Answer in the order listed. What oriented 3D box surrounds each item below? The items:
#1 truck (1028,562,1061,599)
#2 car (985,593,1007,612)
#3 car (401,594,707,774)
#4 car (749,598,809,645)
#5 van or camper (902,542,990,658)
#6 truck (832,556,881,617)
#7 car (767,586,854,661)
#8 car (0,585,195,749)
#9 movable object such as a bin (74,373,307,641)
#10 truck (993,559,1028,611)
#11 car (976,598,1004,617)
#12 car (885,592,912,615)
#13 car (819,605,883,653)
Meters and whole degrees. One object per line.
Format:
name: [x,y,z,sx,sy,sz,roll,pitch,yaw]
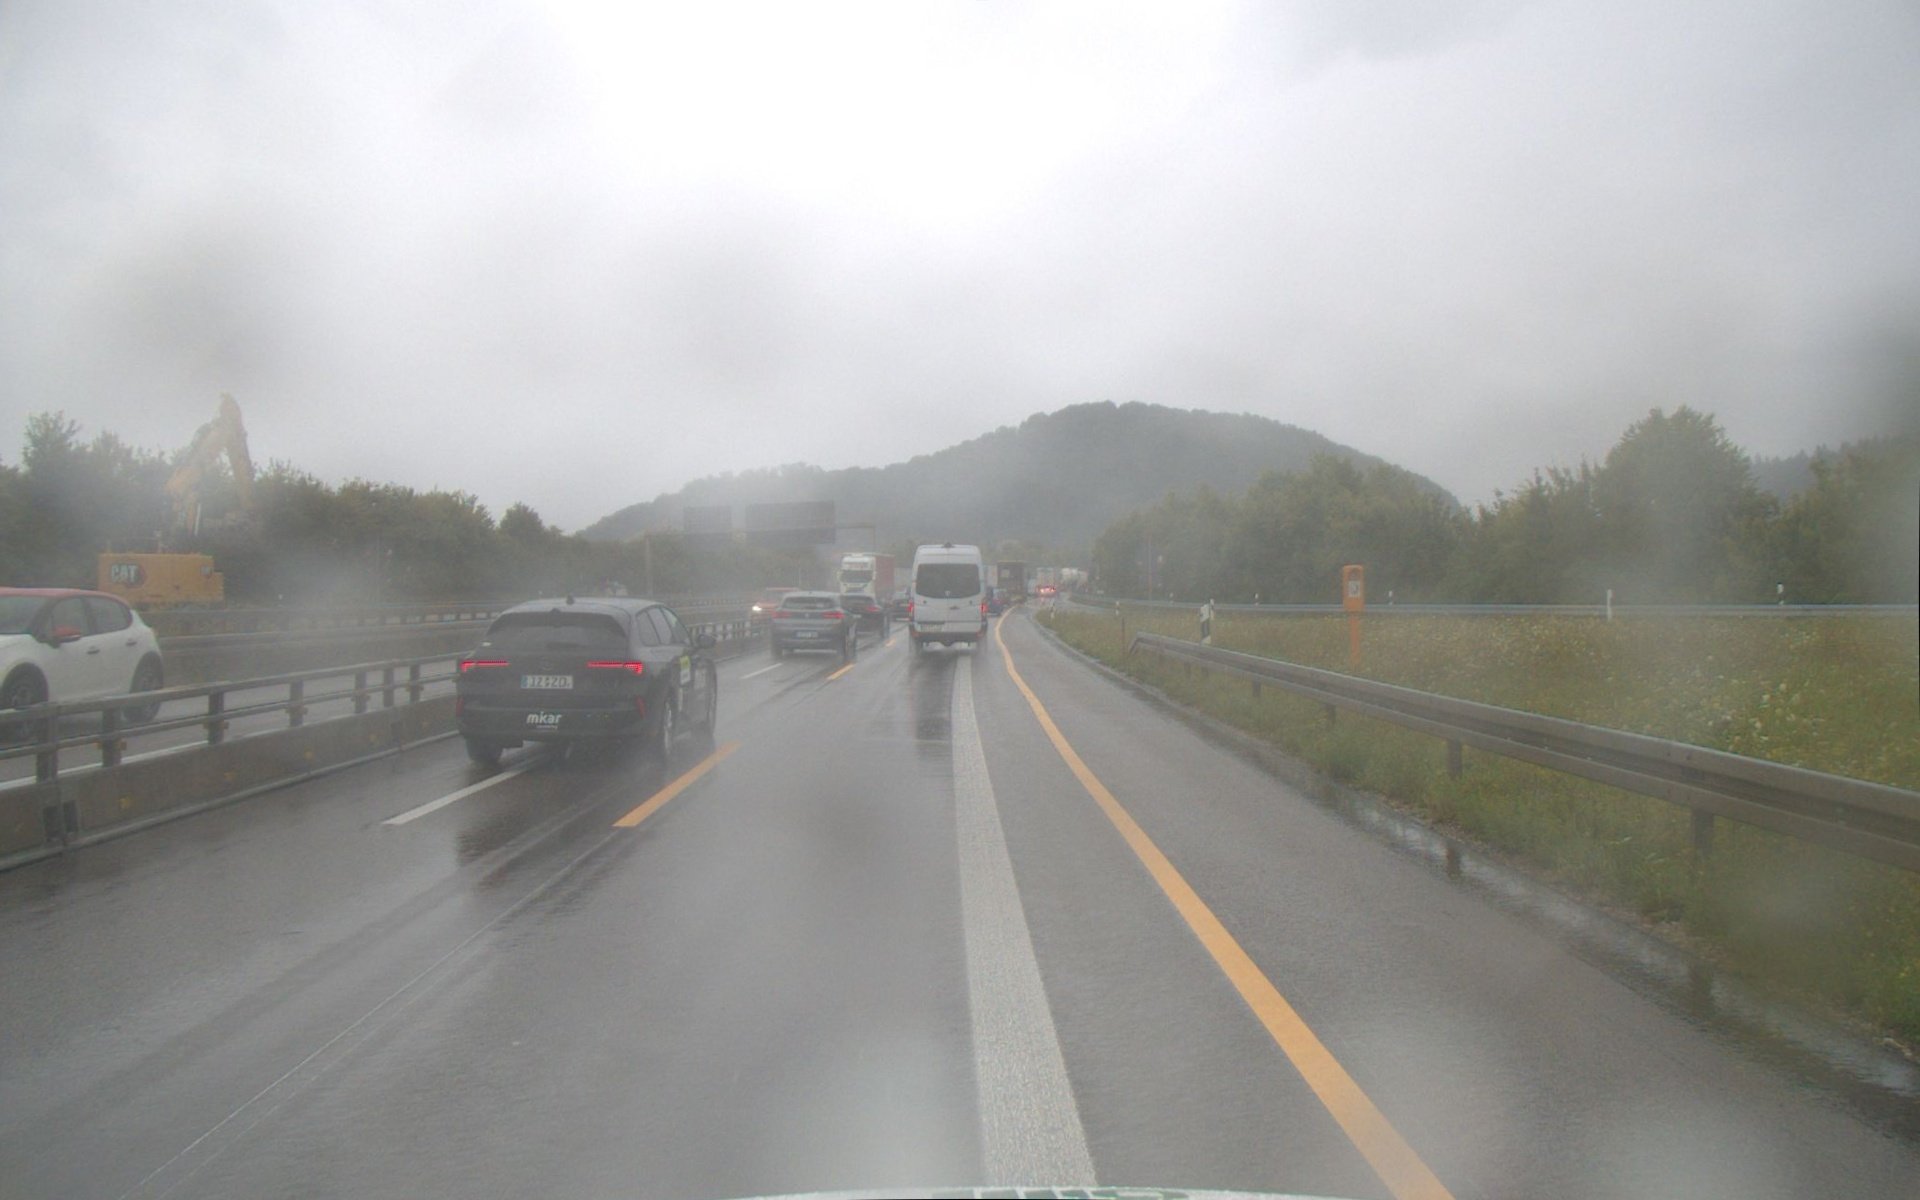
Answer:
truck: [11.832,-2.697,229.491,3.845,4.868,9.913,1,0,7]
car: [2.521,0.158,116.210,1.356,1.278,3.121,0,0,-2]
car: [-3.665,0.683,15.841,1.900,1.452,4.758,1,0,-2]
car: [-6.616,0.771,60.734,1.765,1.621,4.183,1,0,-1]
van or camper: [-0.362,0.003,41.825,2.096,2.769,4.647,0,0,-1]
truck: [-7.701,-0.986,123.501,2.945,4.347,6.802,-1,0,2]
car: [-3.521,0.527,39.495,1.829,1.688,3.987,0,0,-2]
car: [-10.012,0.630,17.411,1.953,1.532,4.295,0,0,-1]
movable object such as a bin: [-25.566,-2.883,55.590,3.521,8.286,8.310,1,0,2]
truck: [5.042,-1.444,162.773,3.251,4.868,9.909,1,0,2]
car: [1.759,0.424,98.011,1.357,1.097,3.120,0,0,-4]
car: [-3.000,0.185,81.030,1.237,1.097,3.253,0,0,-1]
car: [-3.652,0.959,55.959,1.814,1.527,4.000,0,0,1]
